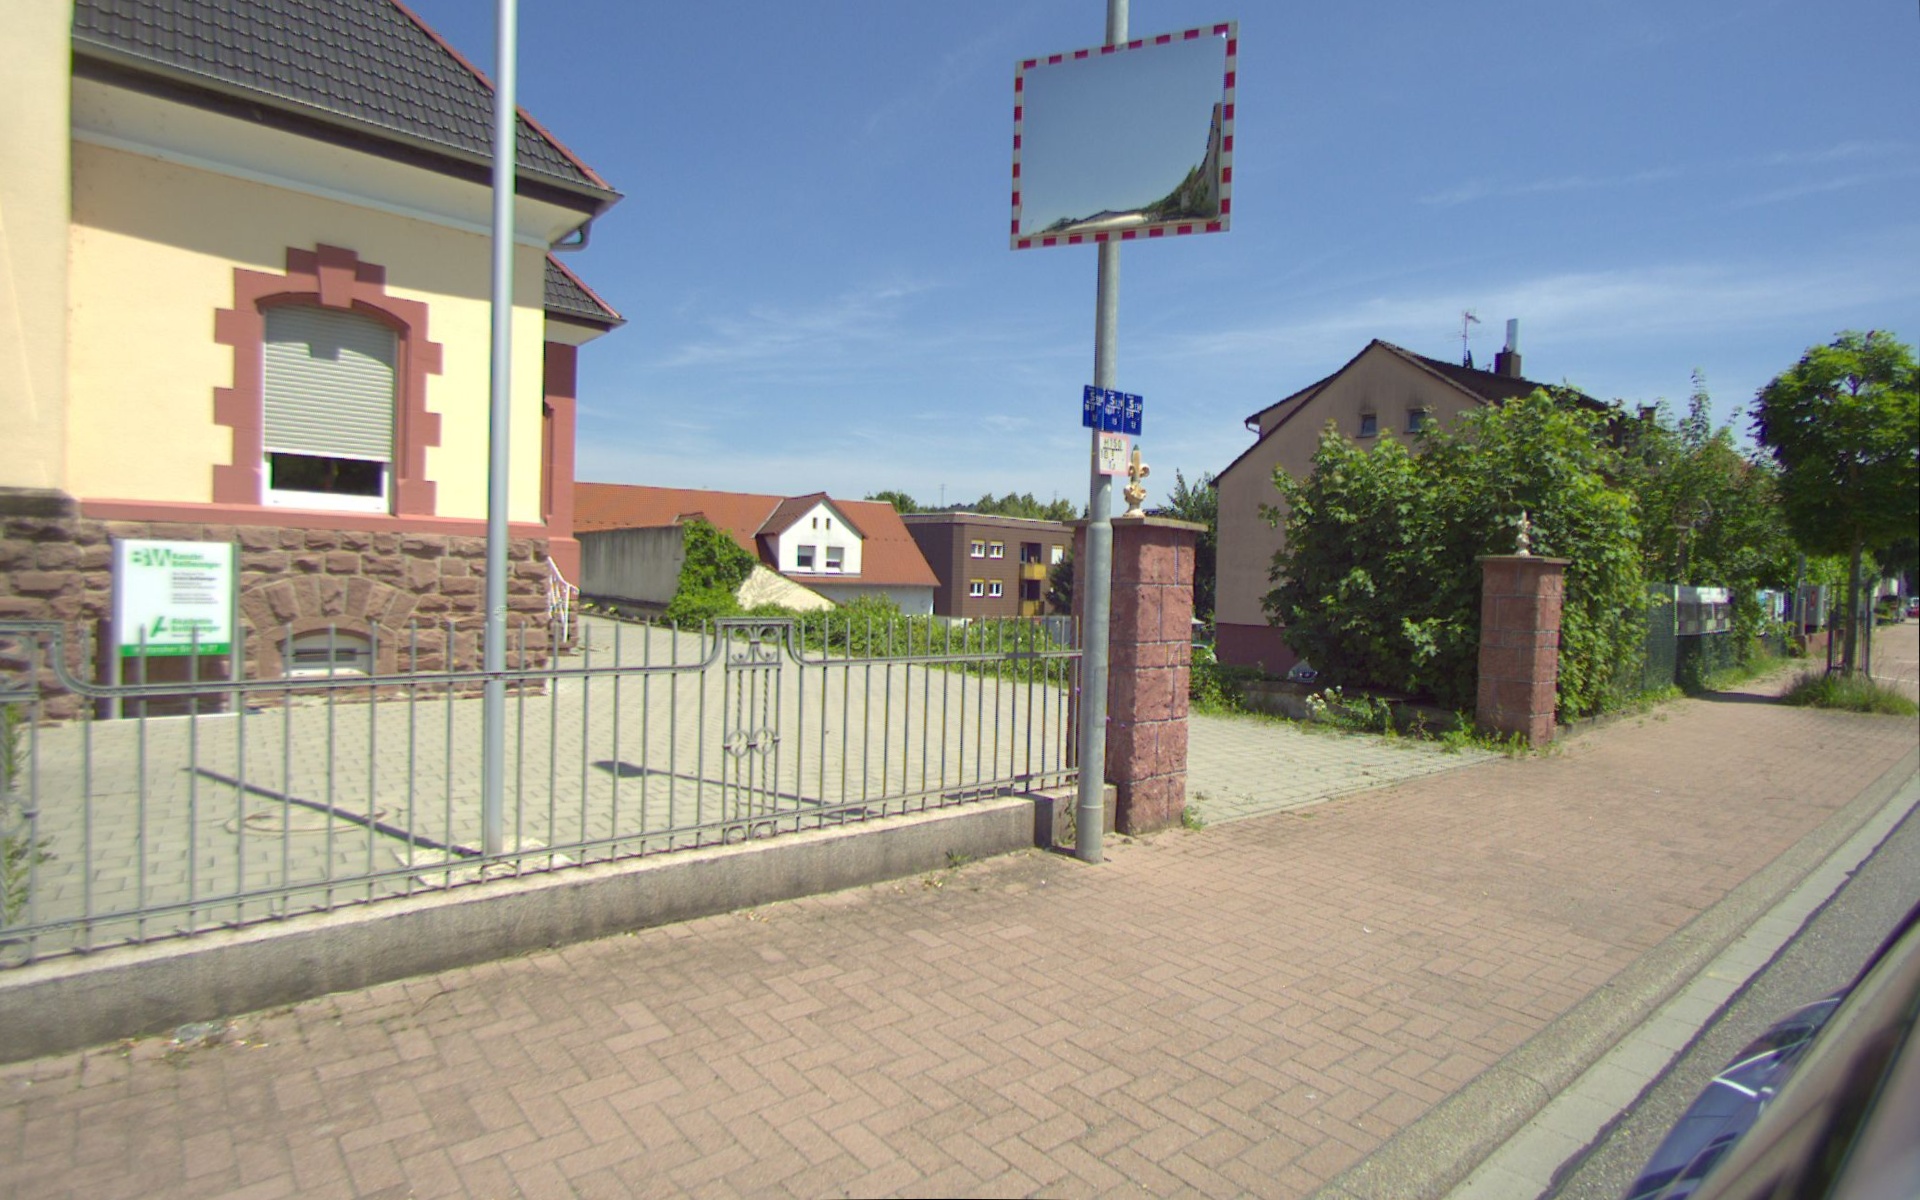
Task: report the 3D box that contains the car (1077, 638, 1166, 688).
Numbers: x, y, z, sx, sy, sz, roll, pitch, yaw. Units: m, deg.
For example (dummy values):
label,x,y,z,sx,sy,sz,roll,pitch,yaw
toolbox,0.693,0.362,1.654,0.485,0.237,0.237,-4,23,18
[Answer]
label,x,y,z,sx,sy,sz,roll,pitch,yaw
car,5.821,2.235,36.304,3.237,1.492,1.324,-2,-3,-42

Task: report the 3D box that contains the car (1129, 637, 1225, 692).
label,x,y,z,sx,sy,sz,roll,pitch,yaw
car,7.072,2.090,32.930,3.237,1.492,1.324,-2,-3,-42
